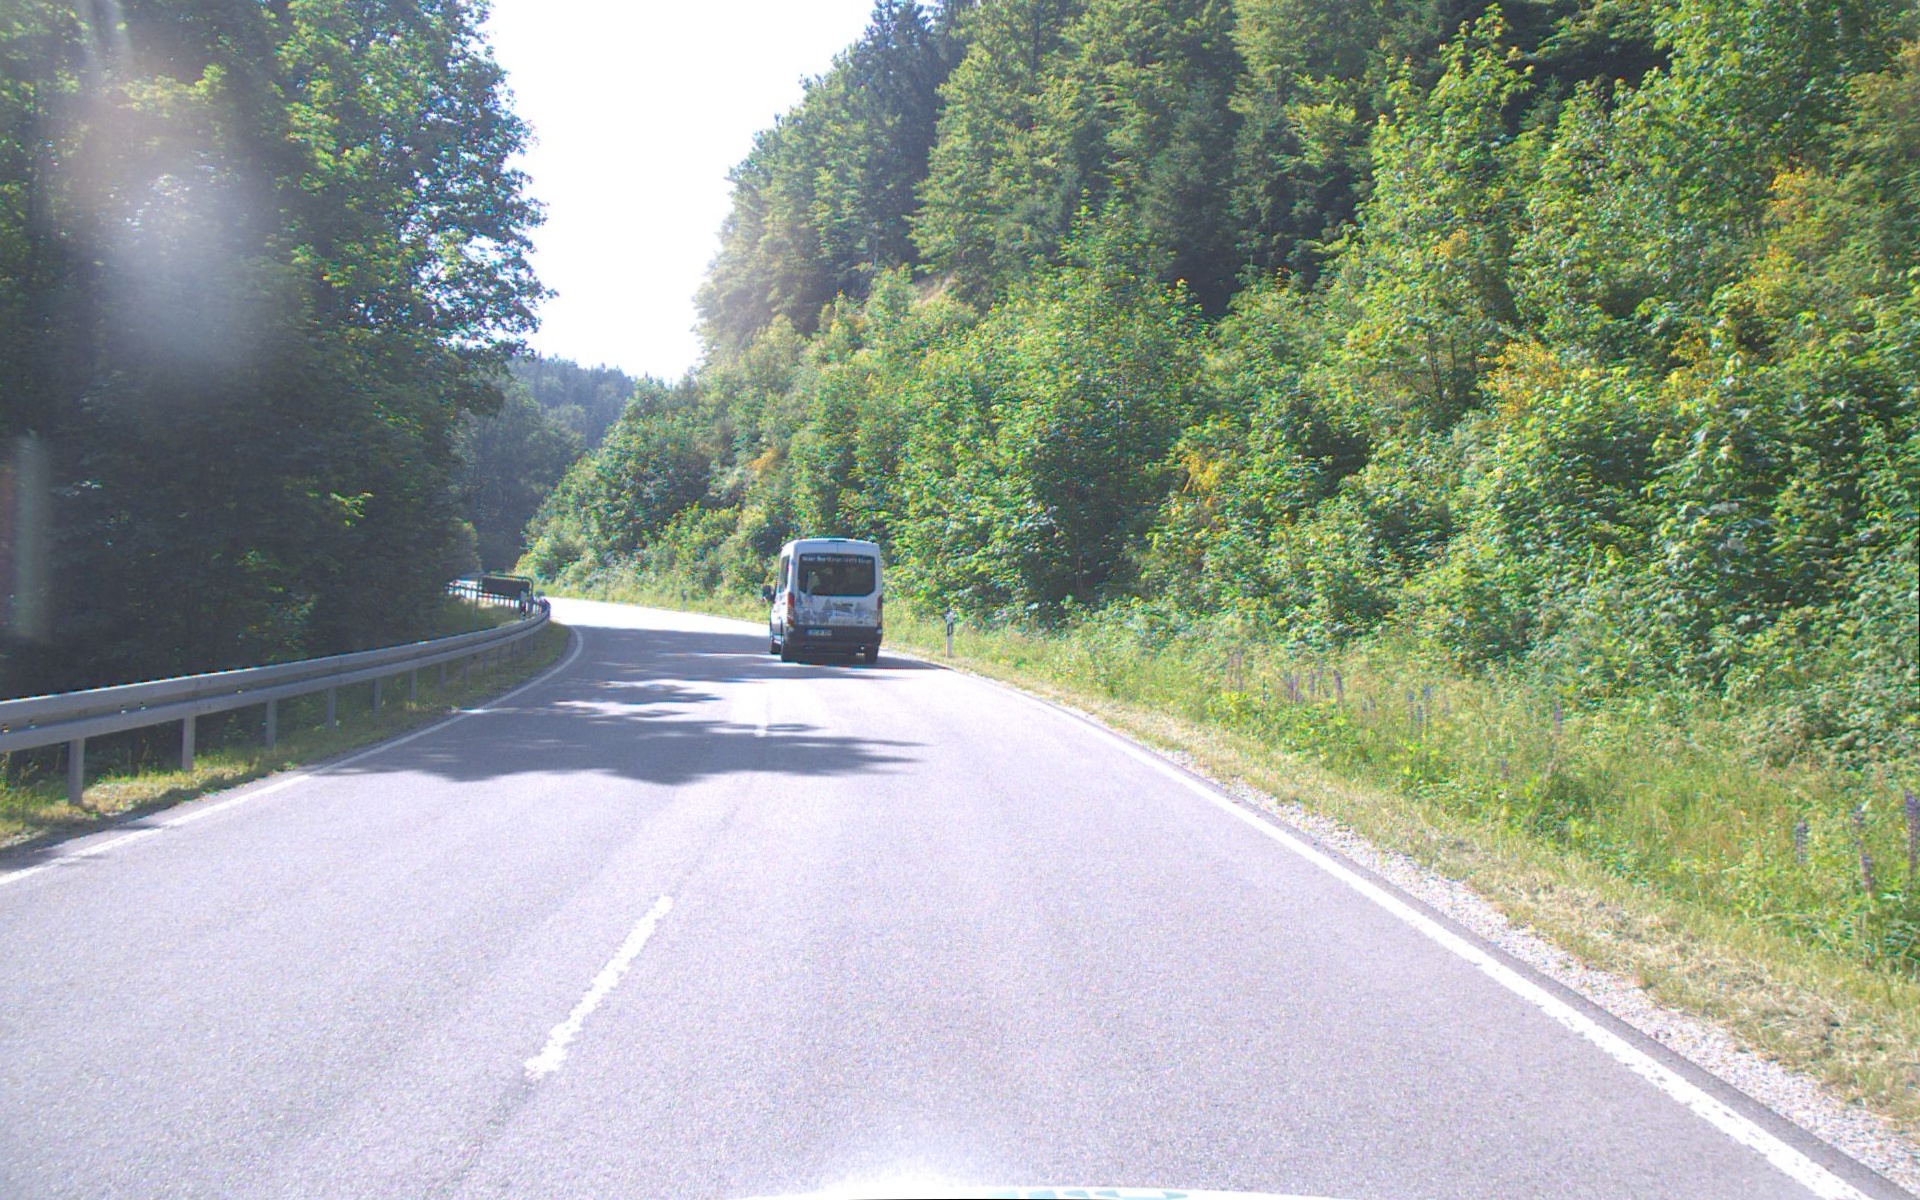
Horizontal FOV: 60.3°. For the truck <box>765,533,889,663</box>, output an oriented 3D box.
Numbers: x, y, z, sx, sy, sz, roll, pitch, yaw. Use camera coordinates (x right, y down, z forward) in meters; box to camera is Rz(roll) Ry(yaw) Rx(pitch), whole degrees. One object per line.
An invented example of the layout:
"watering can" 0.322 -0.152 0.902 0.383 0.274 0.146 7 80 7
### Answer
"truck" -2.925 -0.064 35.369 2.077 2.542 5.346 1 0 -11
